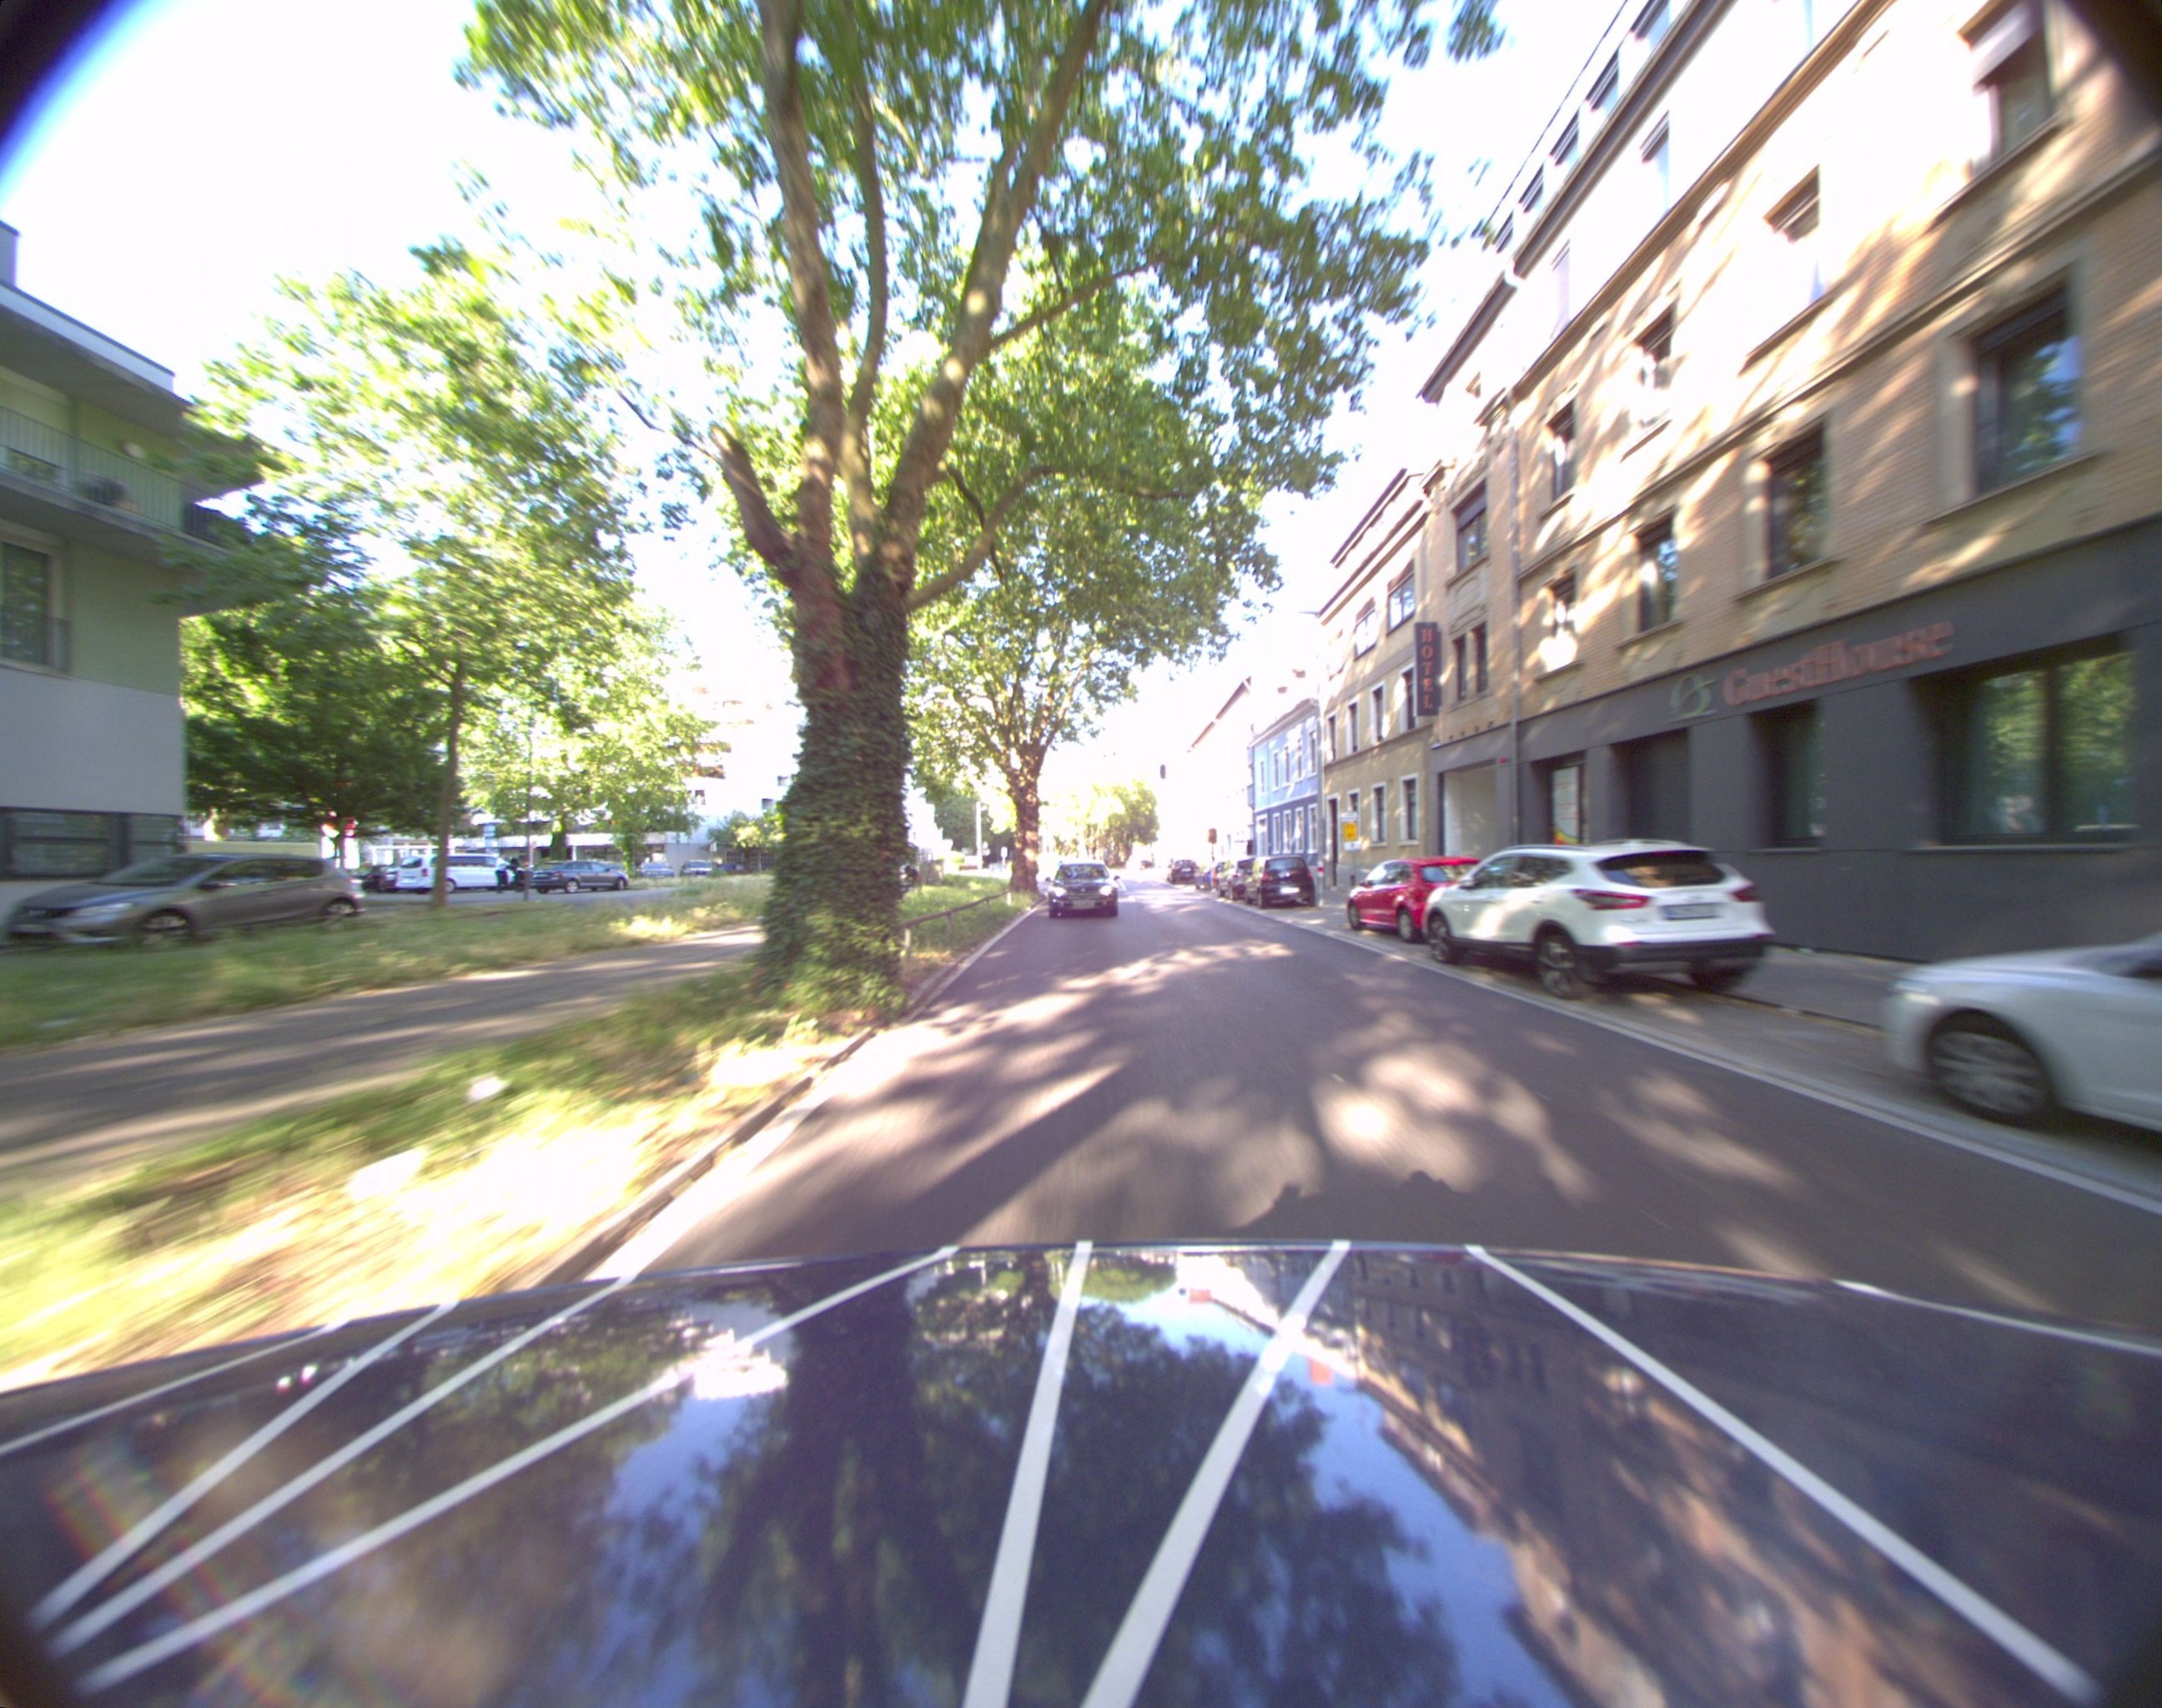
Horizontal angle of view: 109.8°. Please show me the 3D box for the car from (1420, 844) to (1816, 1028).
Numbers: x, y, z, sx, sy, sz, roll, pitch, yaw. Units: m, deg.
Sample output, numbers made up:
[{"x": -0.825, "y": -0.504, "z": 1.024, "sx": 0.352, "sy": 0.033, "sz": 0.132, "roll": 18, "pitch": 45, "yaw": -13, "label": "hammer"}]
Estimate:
[{"x": 5.713, "y": 0.732, "z": 8.866, "sx": 1.682, "sy": 1.575, "sz": 4.200, "roll": -2, "pitch": 0, "yaw": 1, "label": "car"}]

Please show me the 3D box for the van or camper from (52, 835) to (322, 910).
[{"x": -29.536, "y": 0.567, "z": 25.442, "sx": 2.260, "sy": 2.234, "sz": 5.378, "roll": 0, "pitch": 0, "yaw": 19, "label": "van or camper"}]

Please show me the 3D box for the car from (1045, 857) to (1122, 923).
[{"x": 0.111, "y": 0.883, "z": 20.920, "sx": 1.844, "sy": 1.536, "sz": 4.524, "roll": -2, "pitch": 0, "yaw": 1, "label": "car"}]

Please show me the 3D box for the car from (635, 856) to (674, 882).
[{"x": -28.477, "y": 1.064, "z": 50.665, "sx": 1.832, "sy": 1.577, "sz": 4.359, "roll": 2, "pitch": -4, "yaw": -34, "label": "car"}]

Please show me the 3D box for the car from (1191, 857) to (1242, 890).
[{"x": 6.693, "y": 0.933, "z": 37.957, "sx": 1.654, "sy": 1.478, "sz": 4.262, "roll": -2, "pitch": 0, "yaw": -1, "label": "car"}]

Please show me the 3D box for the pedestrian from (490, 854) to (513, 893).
[{"x": -26.279, "y": 0.876, "z": 34.472, "sx": 0.560, "sy": 1.741, "sz": 0.532, "roll": -1, "pitch": 2, "yaw": 12, "label": "pedestrian"}]

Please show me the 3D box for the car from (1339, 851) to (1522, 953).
[{"x": 6.272, "y": 0.782, "z": 14.128, "sx": 1.682, "sy": 1.583, "sz": 3.756, "roll": -2, "pitch": 0, "yaw": 1, "label": "car"}]

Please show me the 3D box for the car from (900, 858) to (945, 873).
[{"x": -16.359, "y": 1.162, "z": 78.660, "sx": 4.212, "sy": 1.502, "sz": 1.797, "roll": 0, "pitch": 0, "yaw": -29, "label": "car"}]

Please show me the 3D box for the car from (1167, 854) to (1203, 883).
[{"x": 6.547, "y": 0.879, "z": 48.094, "sx": 1.910, "sy": 1.663, "sz": 4.494, "roll": -2, "pitch": 0, "yaw": 4, "label": "car"}]

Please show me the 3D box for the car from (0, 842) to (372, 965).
[{"x": -15.191, "y": 0.721, "z": 13.067, "sx": 1.909, "sy": 1.760, "sz": 4.320, "roll": 0, "pitch": 0, "yaw": 0, "label": "car"}]

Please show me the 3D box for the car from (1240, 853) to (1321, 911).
[{"x": 6.130, "y": 0.802, "z": 23.743, "sx": 1.681, "sy": 1.595, "sz": 3.706, "roll": -2, "pitch": 0, "yaw": 3, "label": "car"}]

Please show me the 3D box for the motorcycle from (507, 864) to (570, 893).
[{"x": -25.217, "y": 1.120, "z": 35.353, "sx": 0.950, "sy": 1.241, "sz": 2.319, "roll": 0, "pitch": 0, "yaw": 13, "label": "motorcycle"}]

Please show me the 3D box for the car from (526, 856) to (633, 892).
[{"x": -22.475, "y": 0.956, "z": 34.244, "sx": 1.673, "sy": 1.513, "sz": 3.993, "roll": 0, "pitch": -3, "yaw": 12, "label": "car"}]

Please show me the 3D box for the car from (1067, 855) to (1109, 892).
[{"x": 0.308, "y": 0.793, "z": 31.809, "sx": 1.654, "sy": 1.445, "sz": 3.535, "roll": -1, "pitch": 0, "yaw": 1, "label": "car"}]

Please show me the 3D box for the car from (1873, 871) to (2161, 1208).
[{"x": 5.864, "y": 0.881, "z": 2.888, "sx": 1.682, "sy": 1.487, "sz": 3.872, "roll": -2, "pitch": 0, "yaw": 1, "label": "car"}]

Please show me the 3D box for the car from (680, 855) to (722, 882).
[{"x": -25.602, "y": 1.018, "z": 51.126, "sx": 1.942, "sy": 1.649, "sz": 4.468, "roll": 2, "pitch": -4, "yaw": -34, "label": "car"}]

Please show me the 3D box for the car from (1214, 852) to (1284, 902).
[{"x": 6.243, "y": 0.813, "z": 28.683, "sx": 1.786, "sy": 1.663, "sz": 4.156, "roll": -2, "pitch": 0, "yaw": 1, "label": "car"}]

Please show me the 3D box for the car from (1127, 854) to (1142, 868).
[{"x": 7.221, "y": 0.962, "z": 103.141, "sx": 1.898, "sy": 1.782, "sz": 4.001, "roll": 0, "pitch": 0, "yaw": 2, "label": "car"}]

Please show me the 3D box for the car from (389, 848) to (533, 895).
[{"x": -29.650, "y": 0.920, "z": 36.597, "sx": 1.997, "sy": 2.083, "sz": 5.061, "roll": -1, "pitch": -3, "yaw": 17, "label": "car"}]

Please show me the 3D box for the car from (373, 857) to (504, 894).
[{"x": -32.279, "y": 1.146, "z": 38.356, "sx": 1.997, "sy": 1.764, "sz": 4.642, "roll": -1, "pitch": -3, "yaw": 17, "label": "car"}]

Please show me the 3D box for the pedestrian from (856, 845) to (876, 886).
[{"x": -10.118, "y": 0.536, "z": 35.724, "sx": 0.785, "sy": 1.869, "sz": 0.803, "roll": -1, "pitch": 0, "yaw": -9, "label": "pedestrian"}]

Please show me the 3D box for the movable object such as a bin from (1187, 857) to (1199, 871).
[{"x": 10.648, "y": 0.974, "z": 72.242, "sx": 1.033, "sy": 1.278, "sz": 1.063, "roll": 0, "pitch": 0, "yaw": 12, "label": "movable object such as a bin"}]

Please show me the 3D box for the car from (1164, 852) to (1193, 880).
[{"x": 6.843, "y": 0.805, "z": 53.662, "sx": 1.668, "sy": 1.808, "sz": 4.005, "roll": -2, "pitch": 0, "yaw": 2, "label": "car"}]

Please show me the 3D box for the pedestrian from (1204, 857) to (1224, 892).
[{"x": 6.044, "y": 0.938, "z": 34.601, "sx": 0.865, "sy": 1.561, "sz": 0.706, "roll": 0, "pitch": 0, "yaw": 6, "label": "pedestrian"}]
